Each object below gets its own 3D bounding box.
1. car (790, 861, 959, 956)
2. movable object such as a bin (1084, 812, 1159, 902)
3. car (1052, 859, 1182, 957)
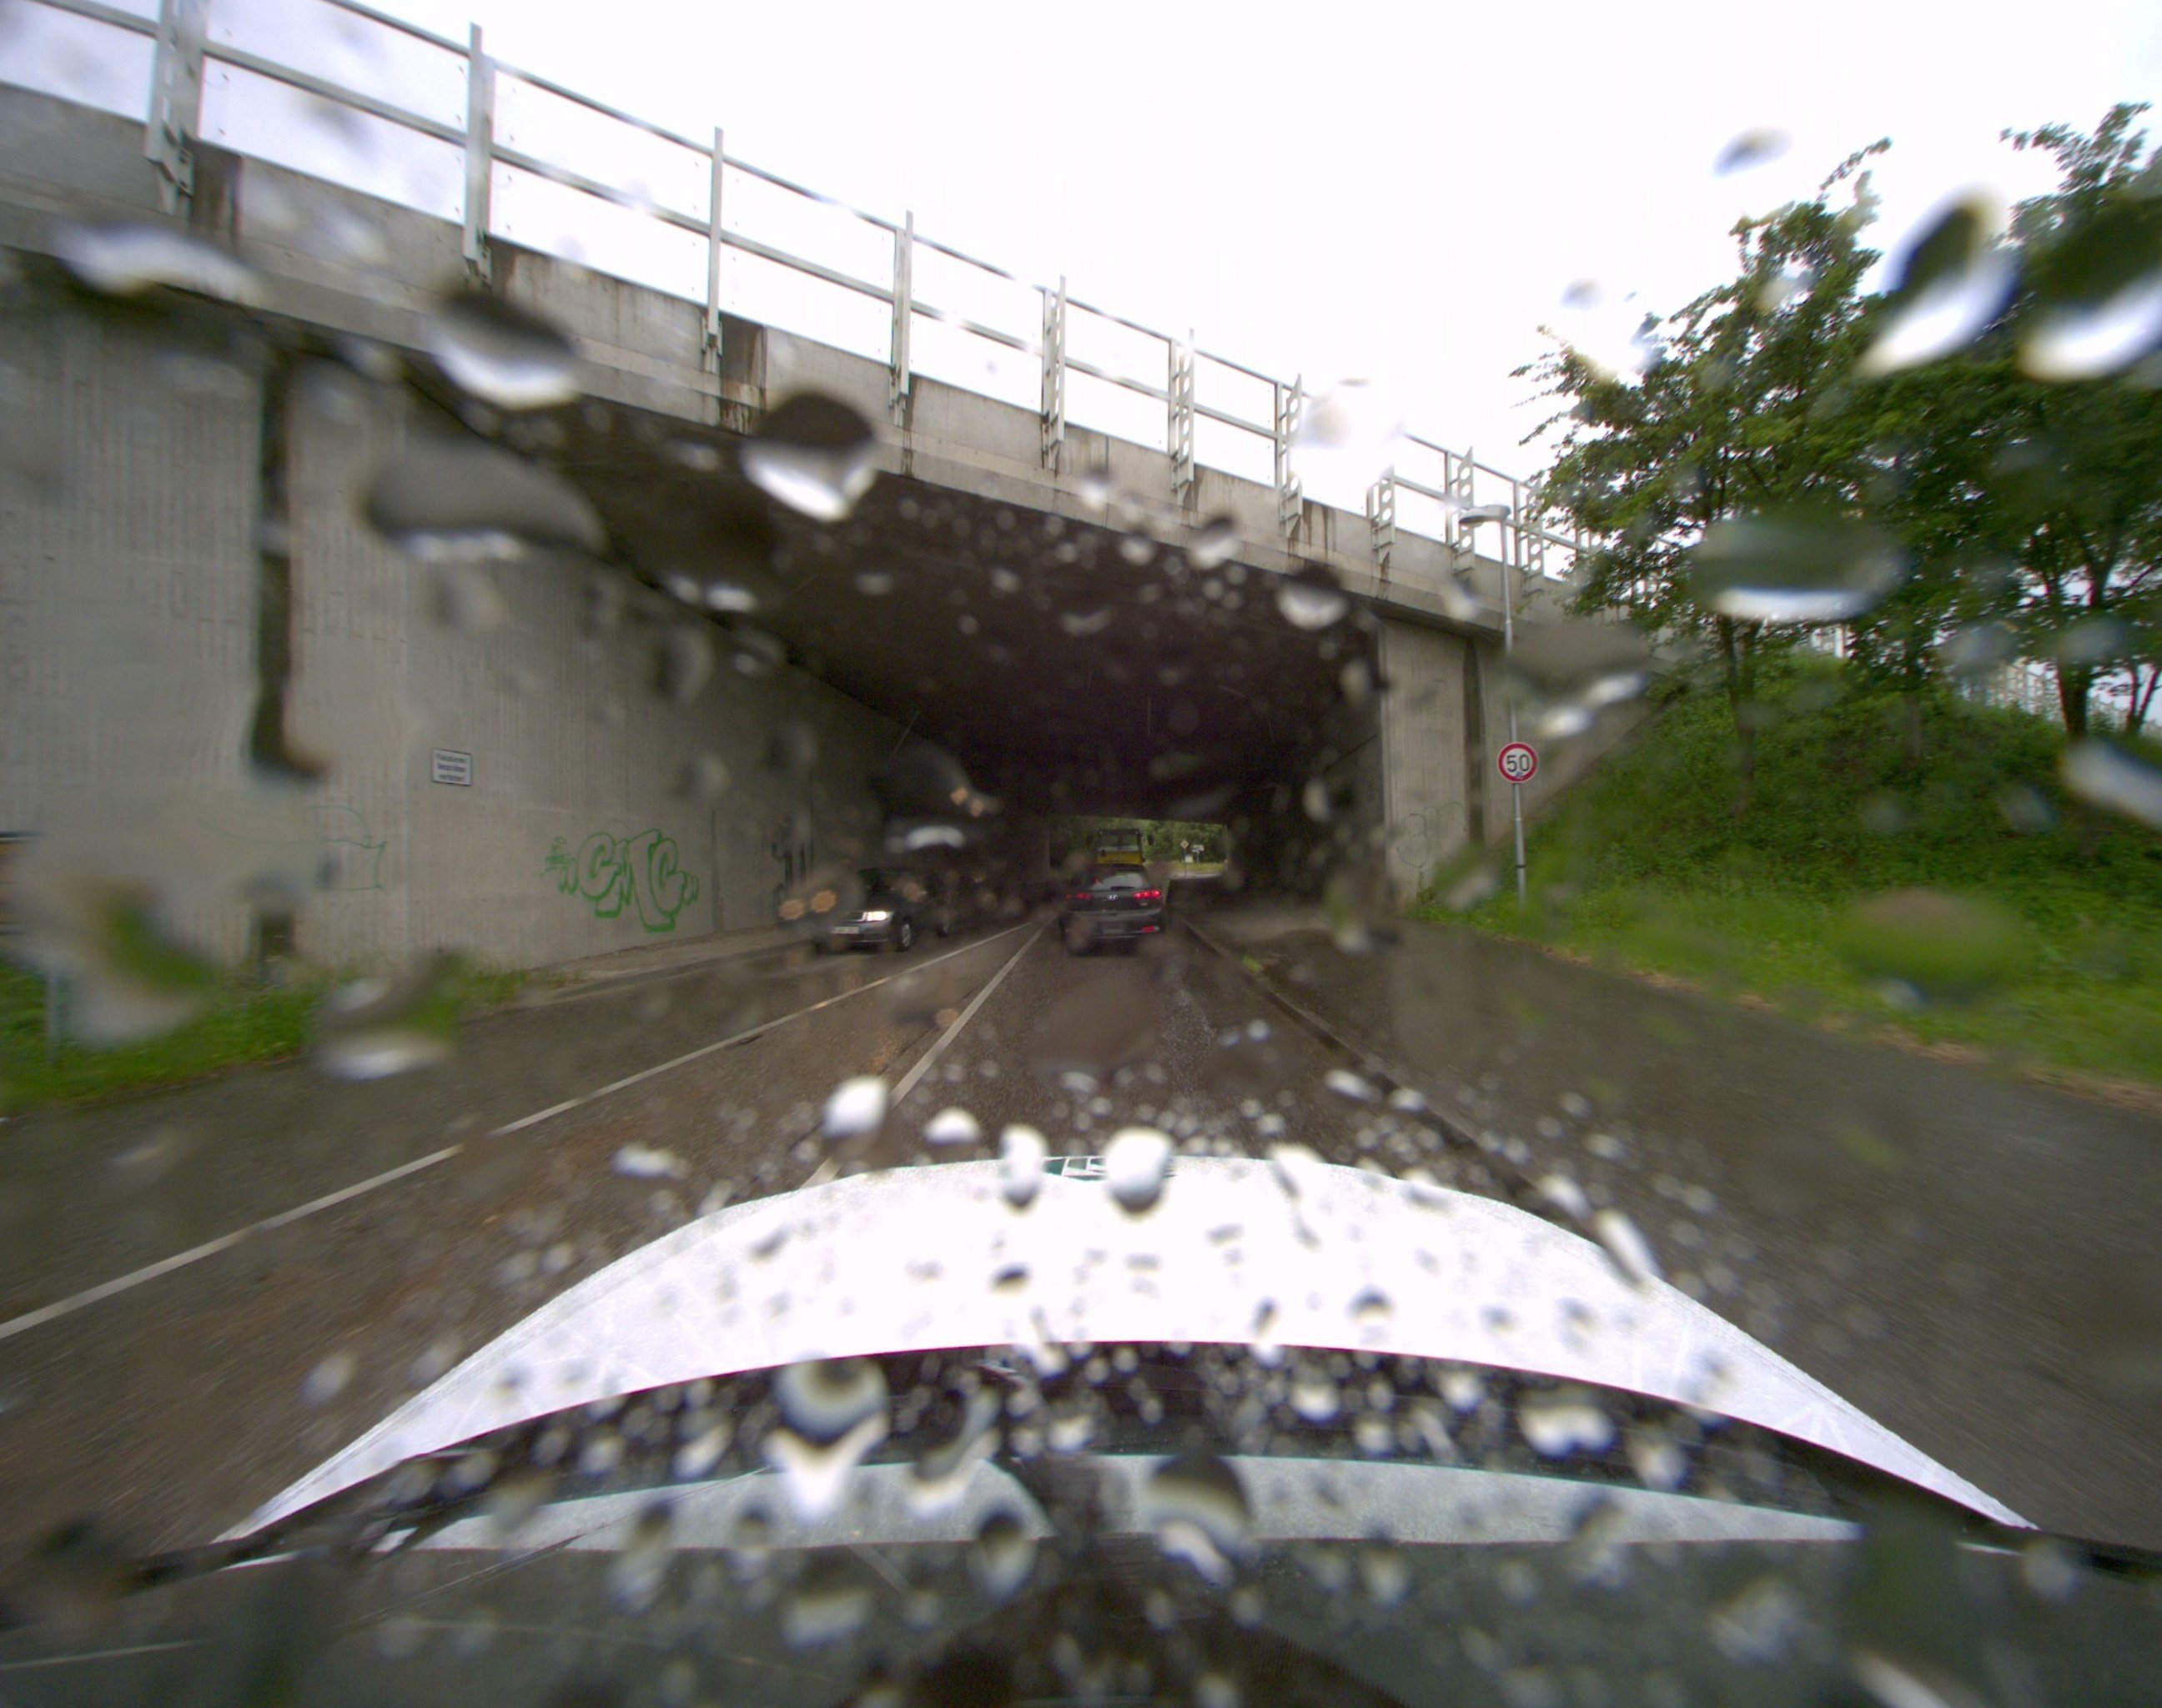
[{"bbox_3d":[-3.617,0.895,15.055,1.682,1.487,4.080,-1,-1,6],"label":"car"},{"bbox_3d":[1.384,0.137,27.522,2.236,2.669,6.631,0,-1,3],"label":"movable object such as a bin"},{"bbox_3d":[0.655,0.849,14.482,1.985,1.487,4.003,0,-1,3],"label":"car"}]
